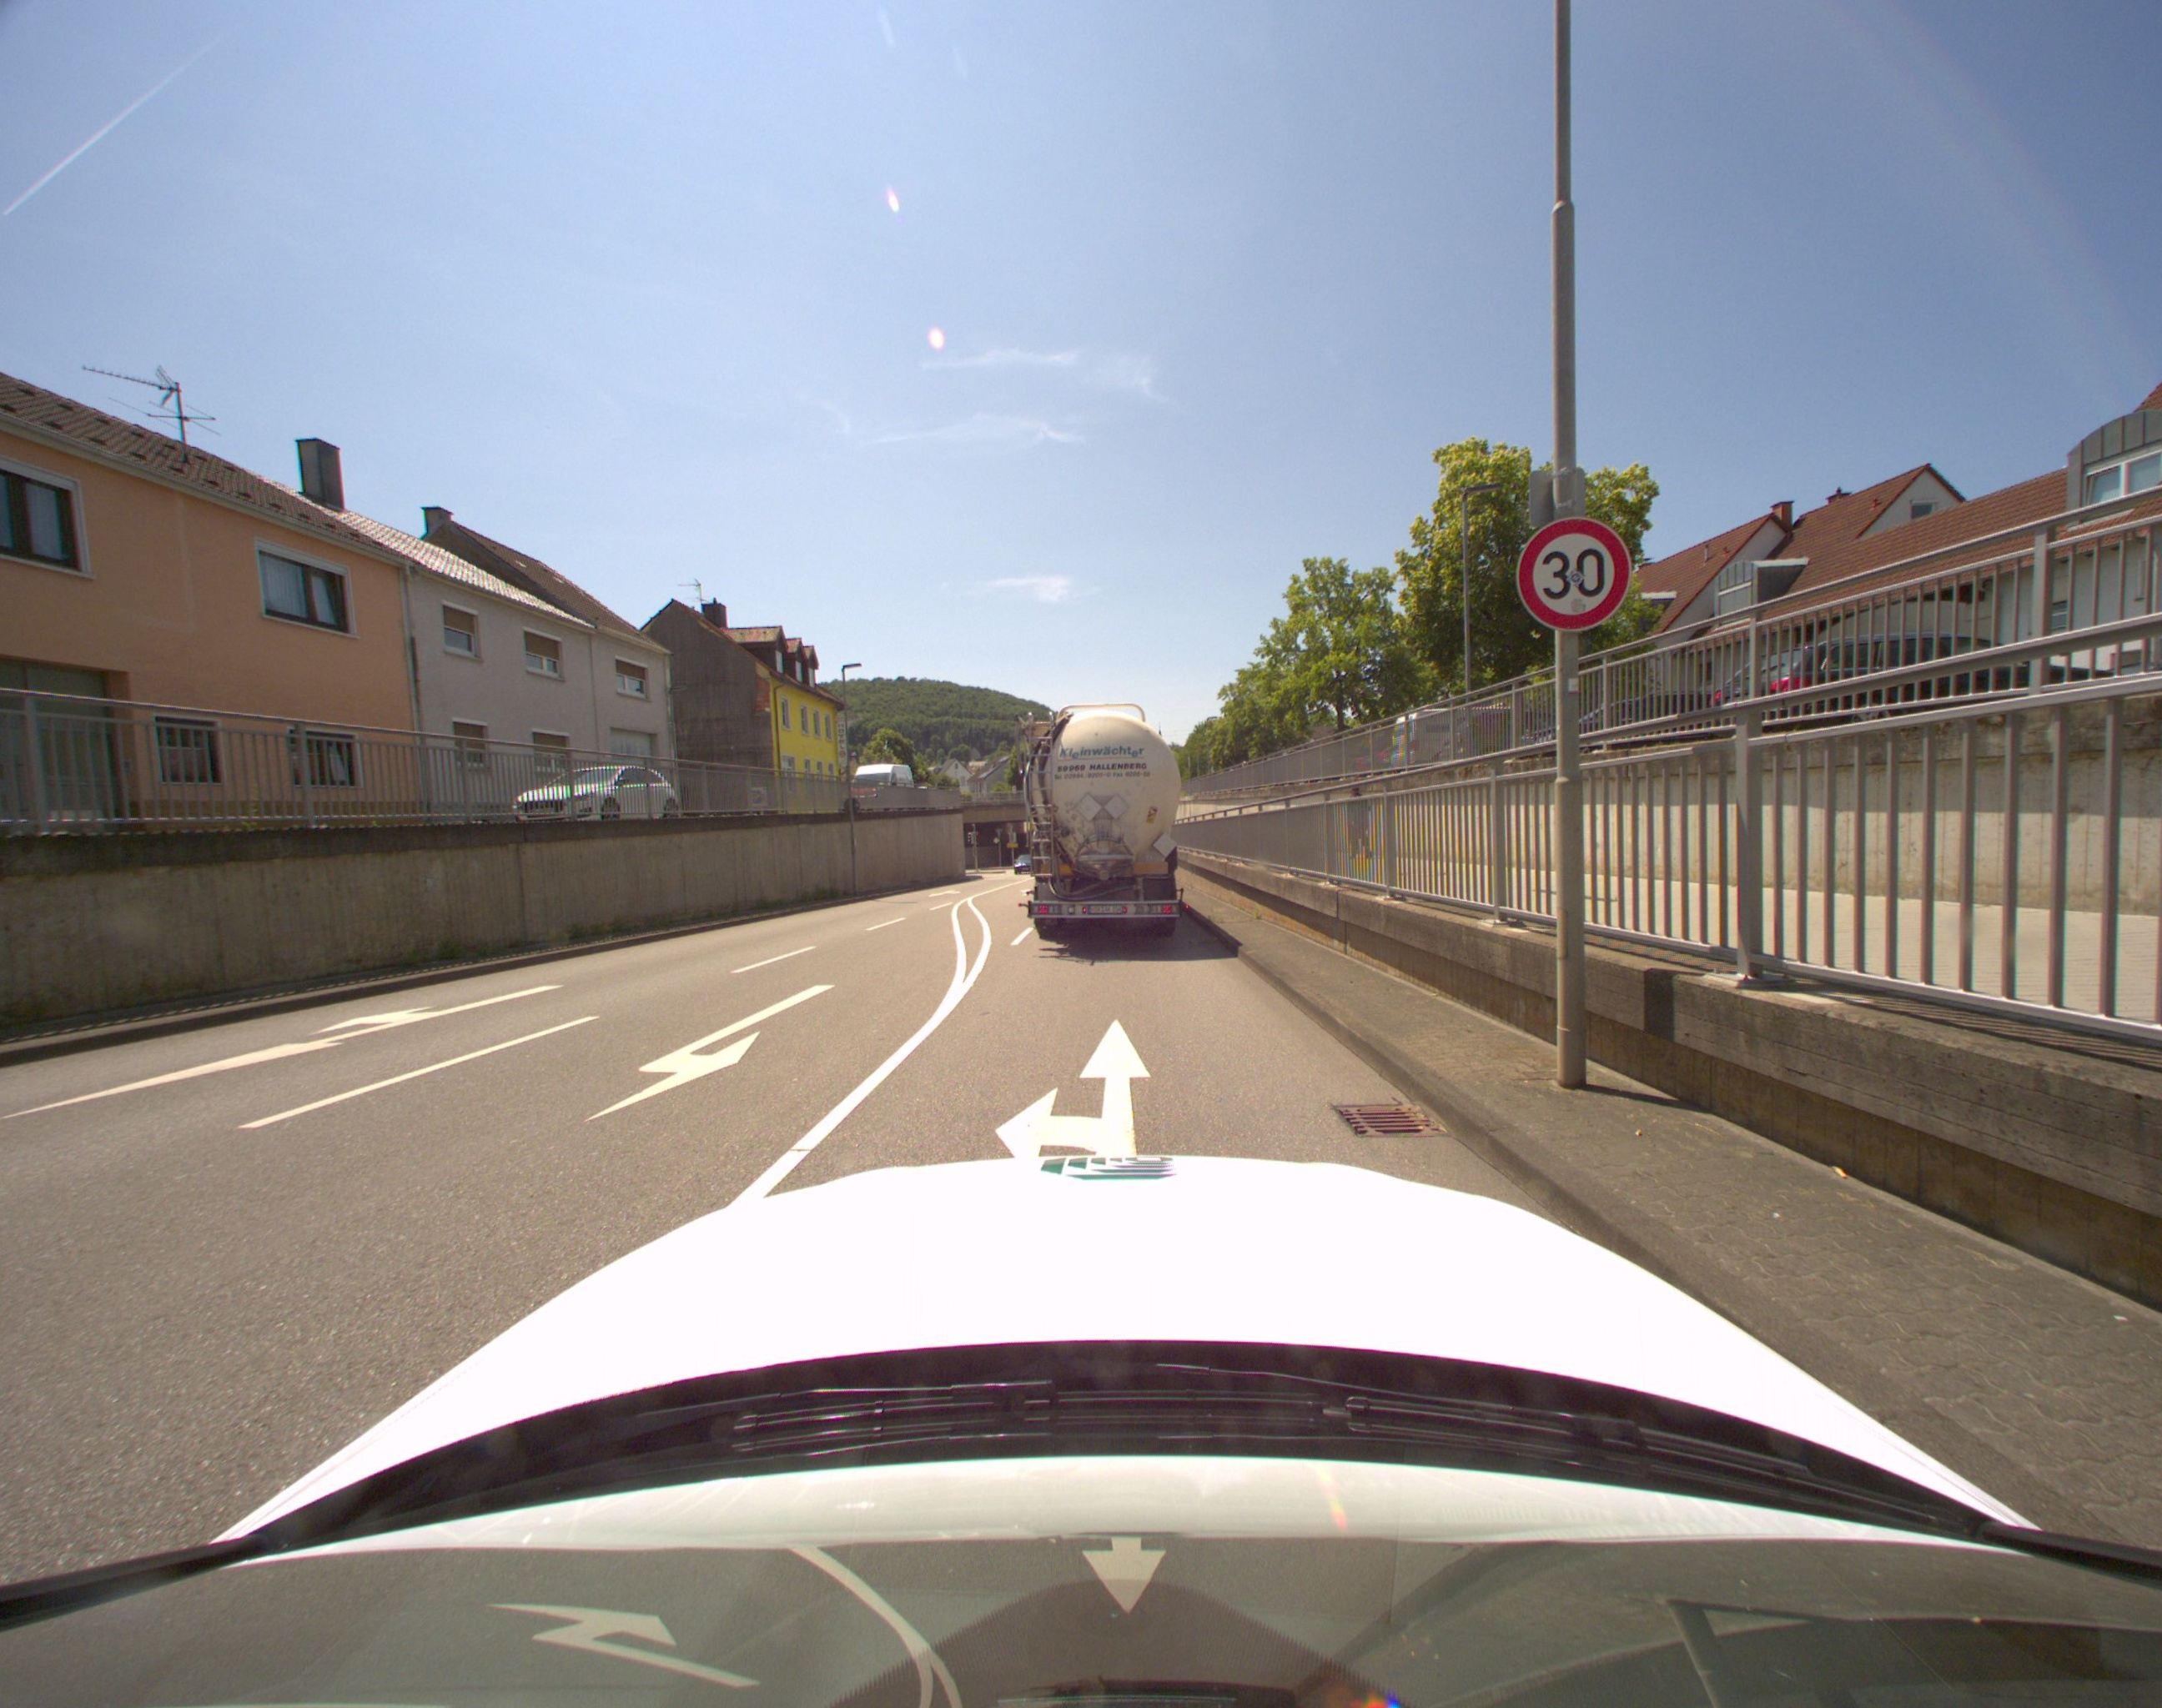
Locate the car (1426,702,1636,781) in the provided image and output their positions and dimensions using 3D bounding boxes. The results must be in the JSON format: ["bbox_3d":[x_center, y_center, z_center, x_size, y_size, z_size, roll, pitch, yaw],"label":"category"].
[{"bbox_3d":[10.891,-2.714,19.925,4.187,1.595,1.688,-2,3,3],"label":"car"}]

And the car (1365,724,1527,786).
[{"bbox_3d":[11.045,-2.980,24.866,4.187,1.595,1.688,-2,3,3],"label":"car"}]

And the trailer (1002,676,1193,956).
[{"bbox_3d":[0.594,-0.573,18.596,2.723,4.064,13.323,-1,0,3],"label":"trailer"}]

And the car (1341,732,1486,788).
[{"bbox_3d":[11.144,-3.136,27.469,4.187,1.595,1.688,-2,3,3],"label":"car"}]

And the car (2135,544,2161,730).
[{"bbox_3d":[10.830,-1.834,5.908,3.970,1.498,1.750,-2,3,3],"label":"car"}]

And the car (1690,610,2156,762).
[{"bbox_3d":[10.621,-2.084,10.533,4.187,1.498,1.688,-2,3,3],"label":"car"}]

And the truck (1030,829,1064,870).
[{"bbox_3d":[-3.344,-0.448,81.269,2.651,3.860,6.584,-1,0,3],"label":"truck"}]

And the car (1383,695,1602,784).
[{"bbox_3d":[11.318,-3.133,22.686,5.091,2.063,1.991,-2,3,3],"label":"car"}]

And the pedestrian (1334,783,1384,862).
[{"bbox_3d":[6.458,-0.720,18.952,0.833,1.781,0.789,-2,1,2],"label":"pedestrian"}]

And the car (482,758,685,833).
[{"bbox_3d":[-10.901,-1.291,18.285,1.807,1.462,4.311,-1,3,0],"label":"car"}]

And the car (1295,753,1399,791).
[{"bbox_3d":[11.283,-3.467,34.761,3.889,1.367,1.688,-2,3,3],"label":"car"}]

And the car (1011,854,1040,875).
[{"bbox_3d":[-4.240,0.791,62.926,1.753,1.489,4.371,-1,0,3],"label":"car"}]

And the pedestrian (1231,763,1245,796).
[{"bbox_3d":[8.844,-4.182,45.894,0.670,1.779,0.595,-2,2,3],"label":"pedestrian"}]

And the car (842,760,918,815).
[{"bbox_3d":[-9.979,-3.246,40.902,2.057,2.535,5.668,-1,3,3],"label":"car"}]

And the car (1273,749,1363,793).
[{"bbox_3d":[11.481,-4.002,39.631,3.889,1.884,1.688,-2,3,3],"label":"car"}]

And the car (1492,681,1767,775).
[{"bbox_3d":[10.738,-2.446,16.171,4.268,1.498,1.750,-2,3,3],"label":"car"}]
